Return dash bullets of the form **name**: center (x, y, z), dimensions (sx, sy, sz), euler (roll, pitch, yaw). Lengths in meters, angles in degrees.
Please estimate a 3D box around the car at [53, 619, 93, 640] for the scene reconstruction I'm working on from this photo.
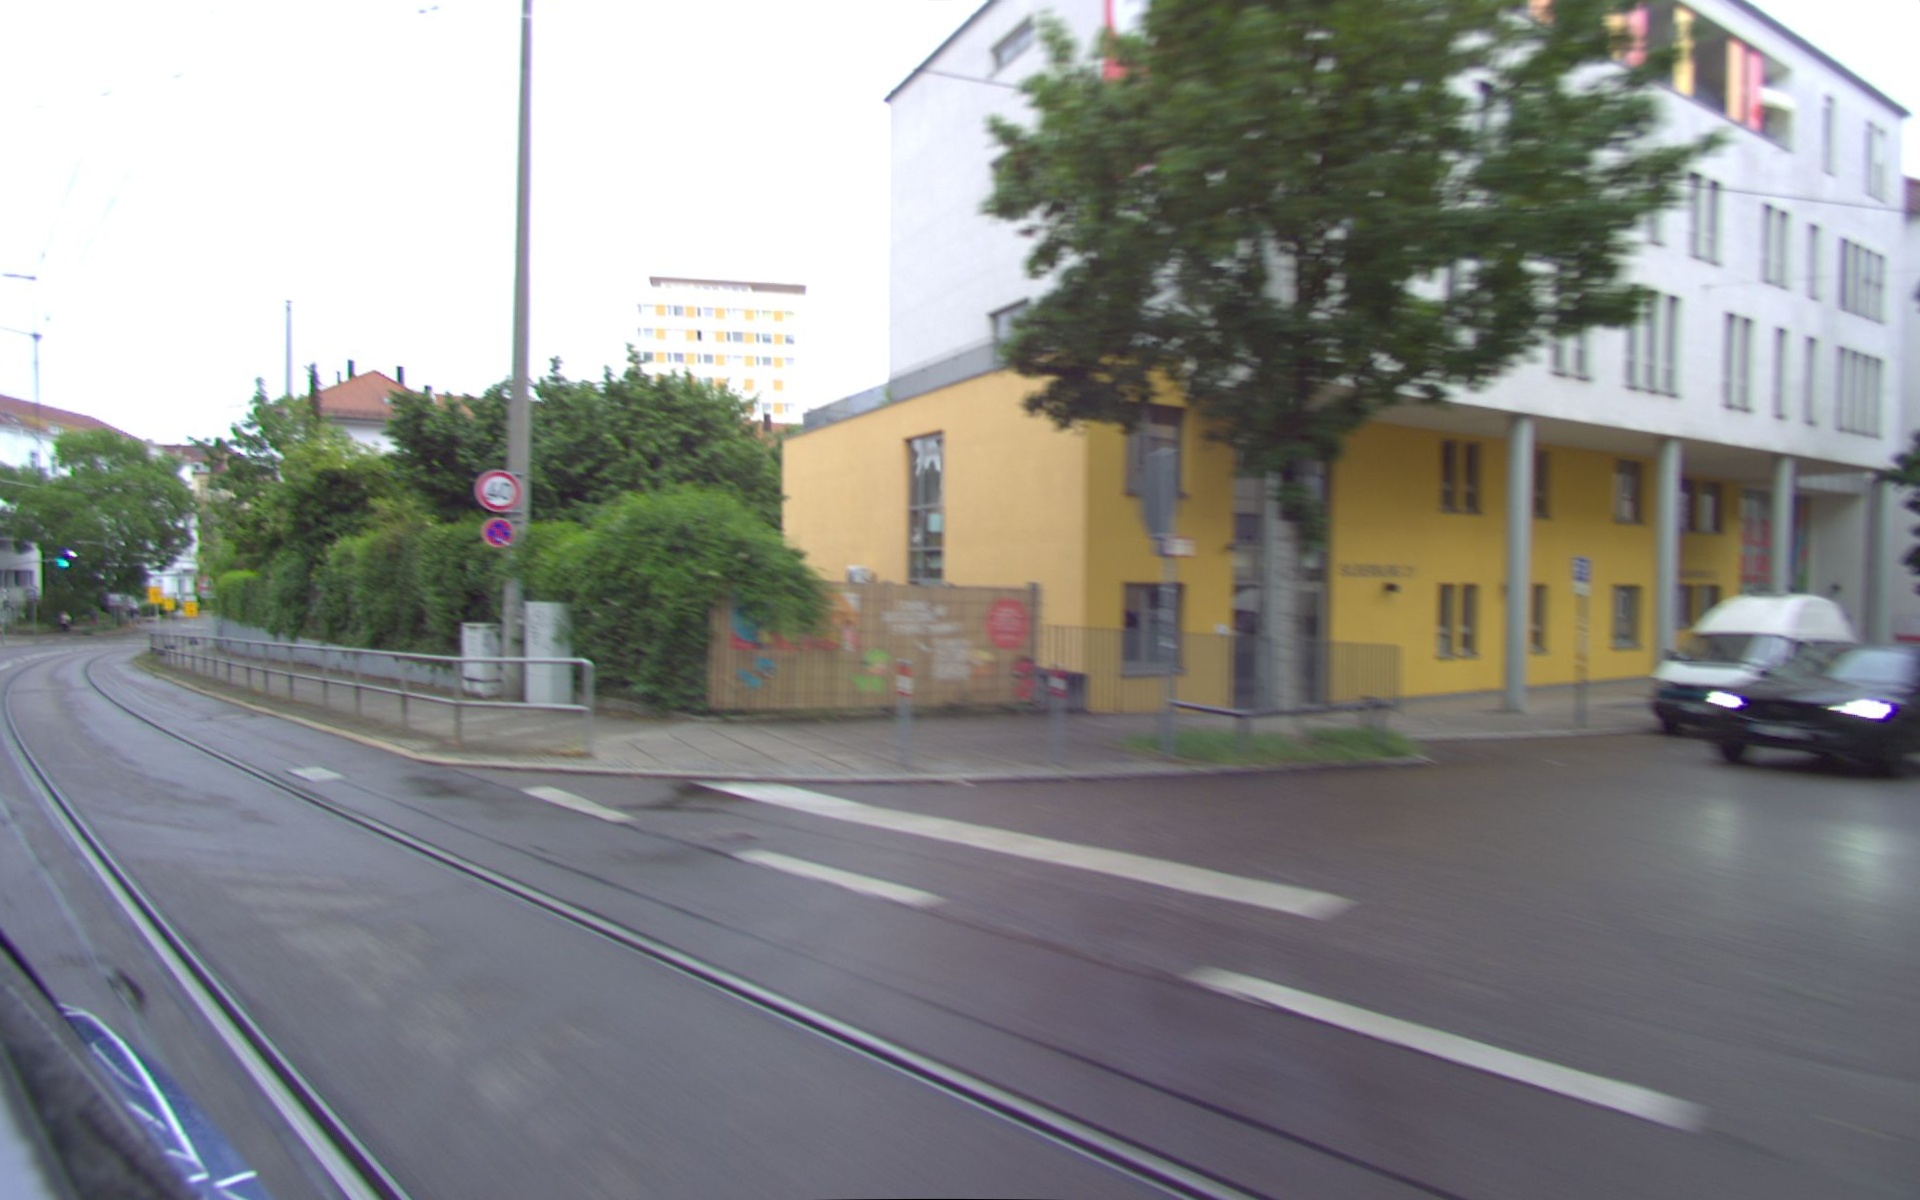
- **car**: center (-71.843, 2.358, 82.010), dimensions (1.769, 1.521, 4.012), euler (-1, 0, -31)

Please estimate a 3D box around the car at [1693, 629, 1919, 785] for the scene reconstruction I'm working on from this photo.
- **car**: center (11.953, 1.335, 13.220), dimensions (4.689, 1.690, 2.077), euler (4, -3, -29)

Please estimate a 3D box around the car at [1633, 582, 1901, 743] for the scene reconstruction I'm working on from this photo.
- **car**: center (14.471, 1.130, 18.082), dimensions (4.985, 2.548, 2.006), euler (4, -3, -29)

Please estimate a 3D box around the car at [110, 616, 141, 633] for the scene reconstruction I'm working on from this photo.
- **car**: center (-82.125, 2.404, 99.592), dimensions (1.769, 1.521, 4.012), euler (-1, 0, -31)
